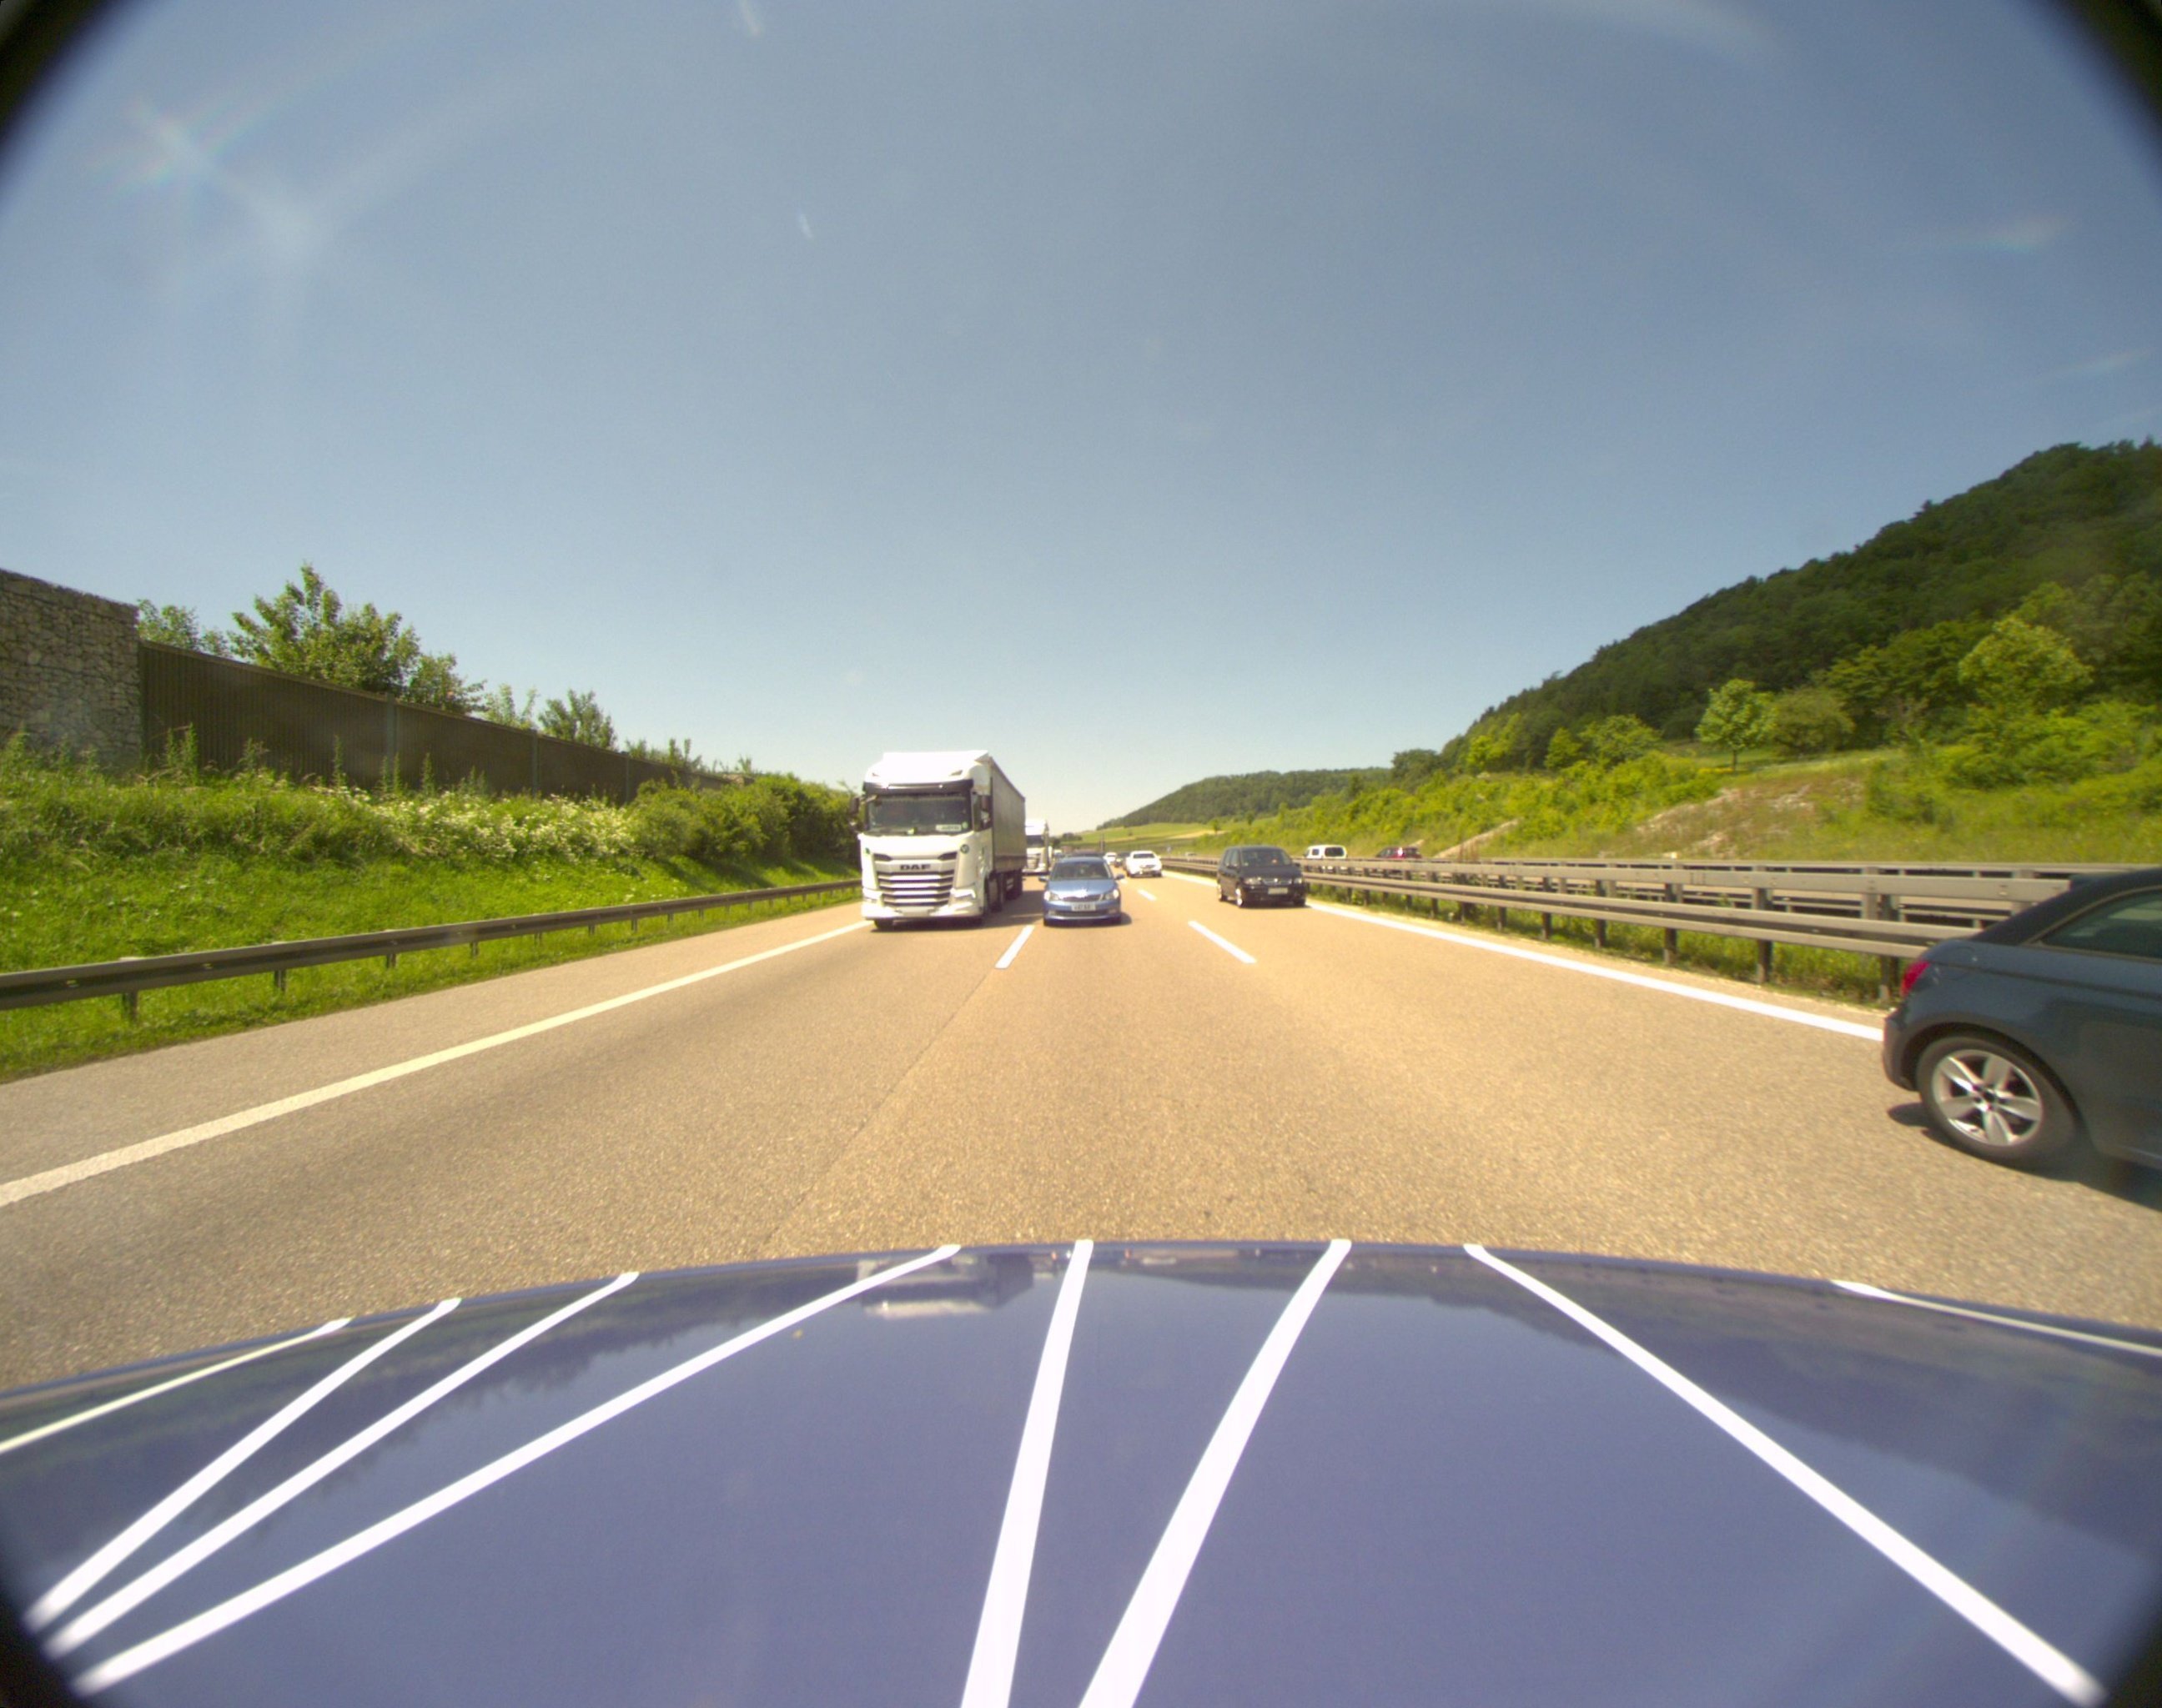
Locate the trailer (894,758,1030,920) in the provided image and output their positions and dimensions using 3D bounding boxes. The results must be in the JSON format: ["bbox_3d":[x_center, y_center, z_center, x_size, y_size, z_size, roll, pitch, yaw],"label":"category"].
[{"bbox_3d":[-3.396,-0.423,25.611,2.484,3.954,13.652,-1,0,-1],"label":"trailer"}]

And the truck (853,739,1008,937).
[{"bbox_3d":[-3.341,-0.342,18.519,2.484,3.954,6.380,-1,1,-1],"label":"truck"}]

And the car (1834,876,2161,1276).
[{"bbox_3d":[4.758,0.836,1.963,1.693,1.380,4.000,-1,0,1],"label":"car"}]

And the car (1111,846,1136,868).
[{"bbox_3d":[3.608,0.256,64.224,1.998,1.692,4.000,-2,1,3],"label":"car"}]

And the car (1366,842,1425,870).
[{"bbox_3d":[19.629,0.080,47.640,1.829,1.635,4.544,-1,1,1],"label":"car"}]

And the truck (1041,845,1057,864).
[{"bbox_3d":[-4.173,0.048,99.433,1.836,2.267,6.593,-2,1,-1],"label":"truck"}]

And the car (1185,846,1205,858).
[{"bbox_3d":[15.117,-0.260,100.663,1.998,1.447,4.527,-1,0,0],"label":"car"}]

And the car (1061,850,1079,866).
[{"bbox_3d":[-1.241,0.456,87.432,1.999,1.702,3.999,-2,1,-1],"label":"car"}]

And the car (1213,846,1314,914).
[{"bbox_3d":[4.856,0.618,20.852,1.805,1.625,4.446,-1,0,2],"label":"car"}]

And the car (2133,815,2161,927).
[{"bbox_3d":[19.662,0.281,11.134,2.065,1.930,4.660,-1,0,1],"label":"car"}]

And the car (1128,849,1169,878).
[{"bbox_3d":[4.013,0.522,46.014,1.999,1.612,3.999,-2,1,-1],"label":"car"}]

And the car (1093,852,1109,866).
[{"bbox_3d":[2.742,0.694,104.116,1.998,1.702,4.000,-2,1,3],"label":"car"}]

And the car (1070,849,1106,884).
[{"bbox_3d":[0.410,0.610,39.210,1.736,1.674,4.197,-1,0,2],"label":"car"}]

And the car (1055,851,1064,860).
[{"bbox_3d":[-4.775,0.341,168.600,1.999,2.002,3.999,-2,1,-1],"label":"car"}]

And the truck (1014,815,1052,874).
[{"bbox_3d":[-3.509,-0.726,57.153,2.532,4.065,6.077,-2,1,-2],"label":"truck"}]

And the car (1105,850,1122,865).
[{"bbox_3d":[4.100,0.400,94.220,1.998,1.702,4.000,-2,1,3],"label":"car"}]

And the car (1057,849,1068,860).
[{"bbox_3d":[-3.405,0.029,142.428,1.999,2.002,3.999,-2,1,-1],"label":"car"}]

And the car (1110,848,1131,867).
[{"bbox_3d":[4.015,0.335,77.328,1.998,1.702,4.000,-2,1,3],"label":"car"}]

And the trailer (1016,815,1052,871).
[{"bbox_3d":[-3.777,-0.899,63.601,2.544,4.085,13.623,-2,1,-2],"label":"trailer"}]

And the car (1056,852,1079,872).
[{"bbox_3d":[-1.258,0.721,70.484,1.999,1.702,3.999,-2,1,-1],"label":"car"}]

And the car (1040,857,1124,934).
[{"bbox_3d":[-0.001,0.842,17.694,1.660,1.481,4.652,-1,0,0],"label":"car"}]

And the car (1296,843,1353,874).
[{"bbox_3d":[15.668,0.249,49.165,1.998,1.828,5.226,-1,1,1],"label":"car"}]
